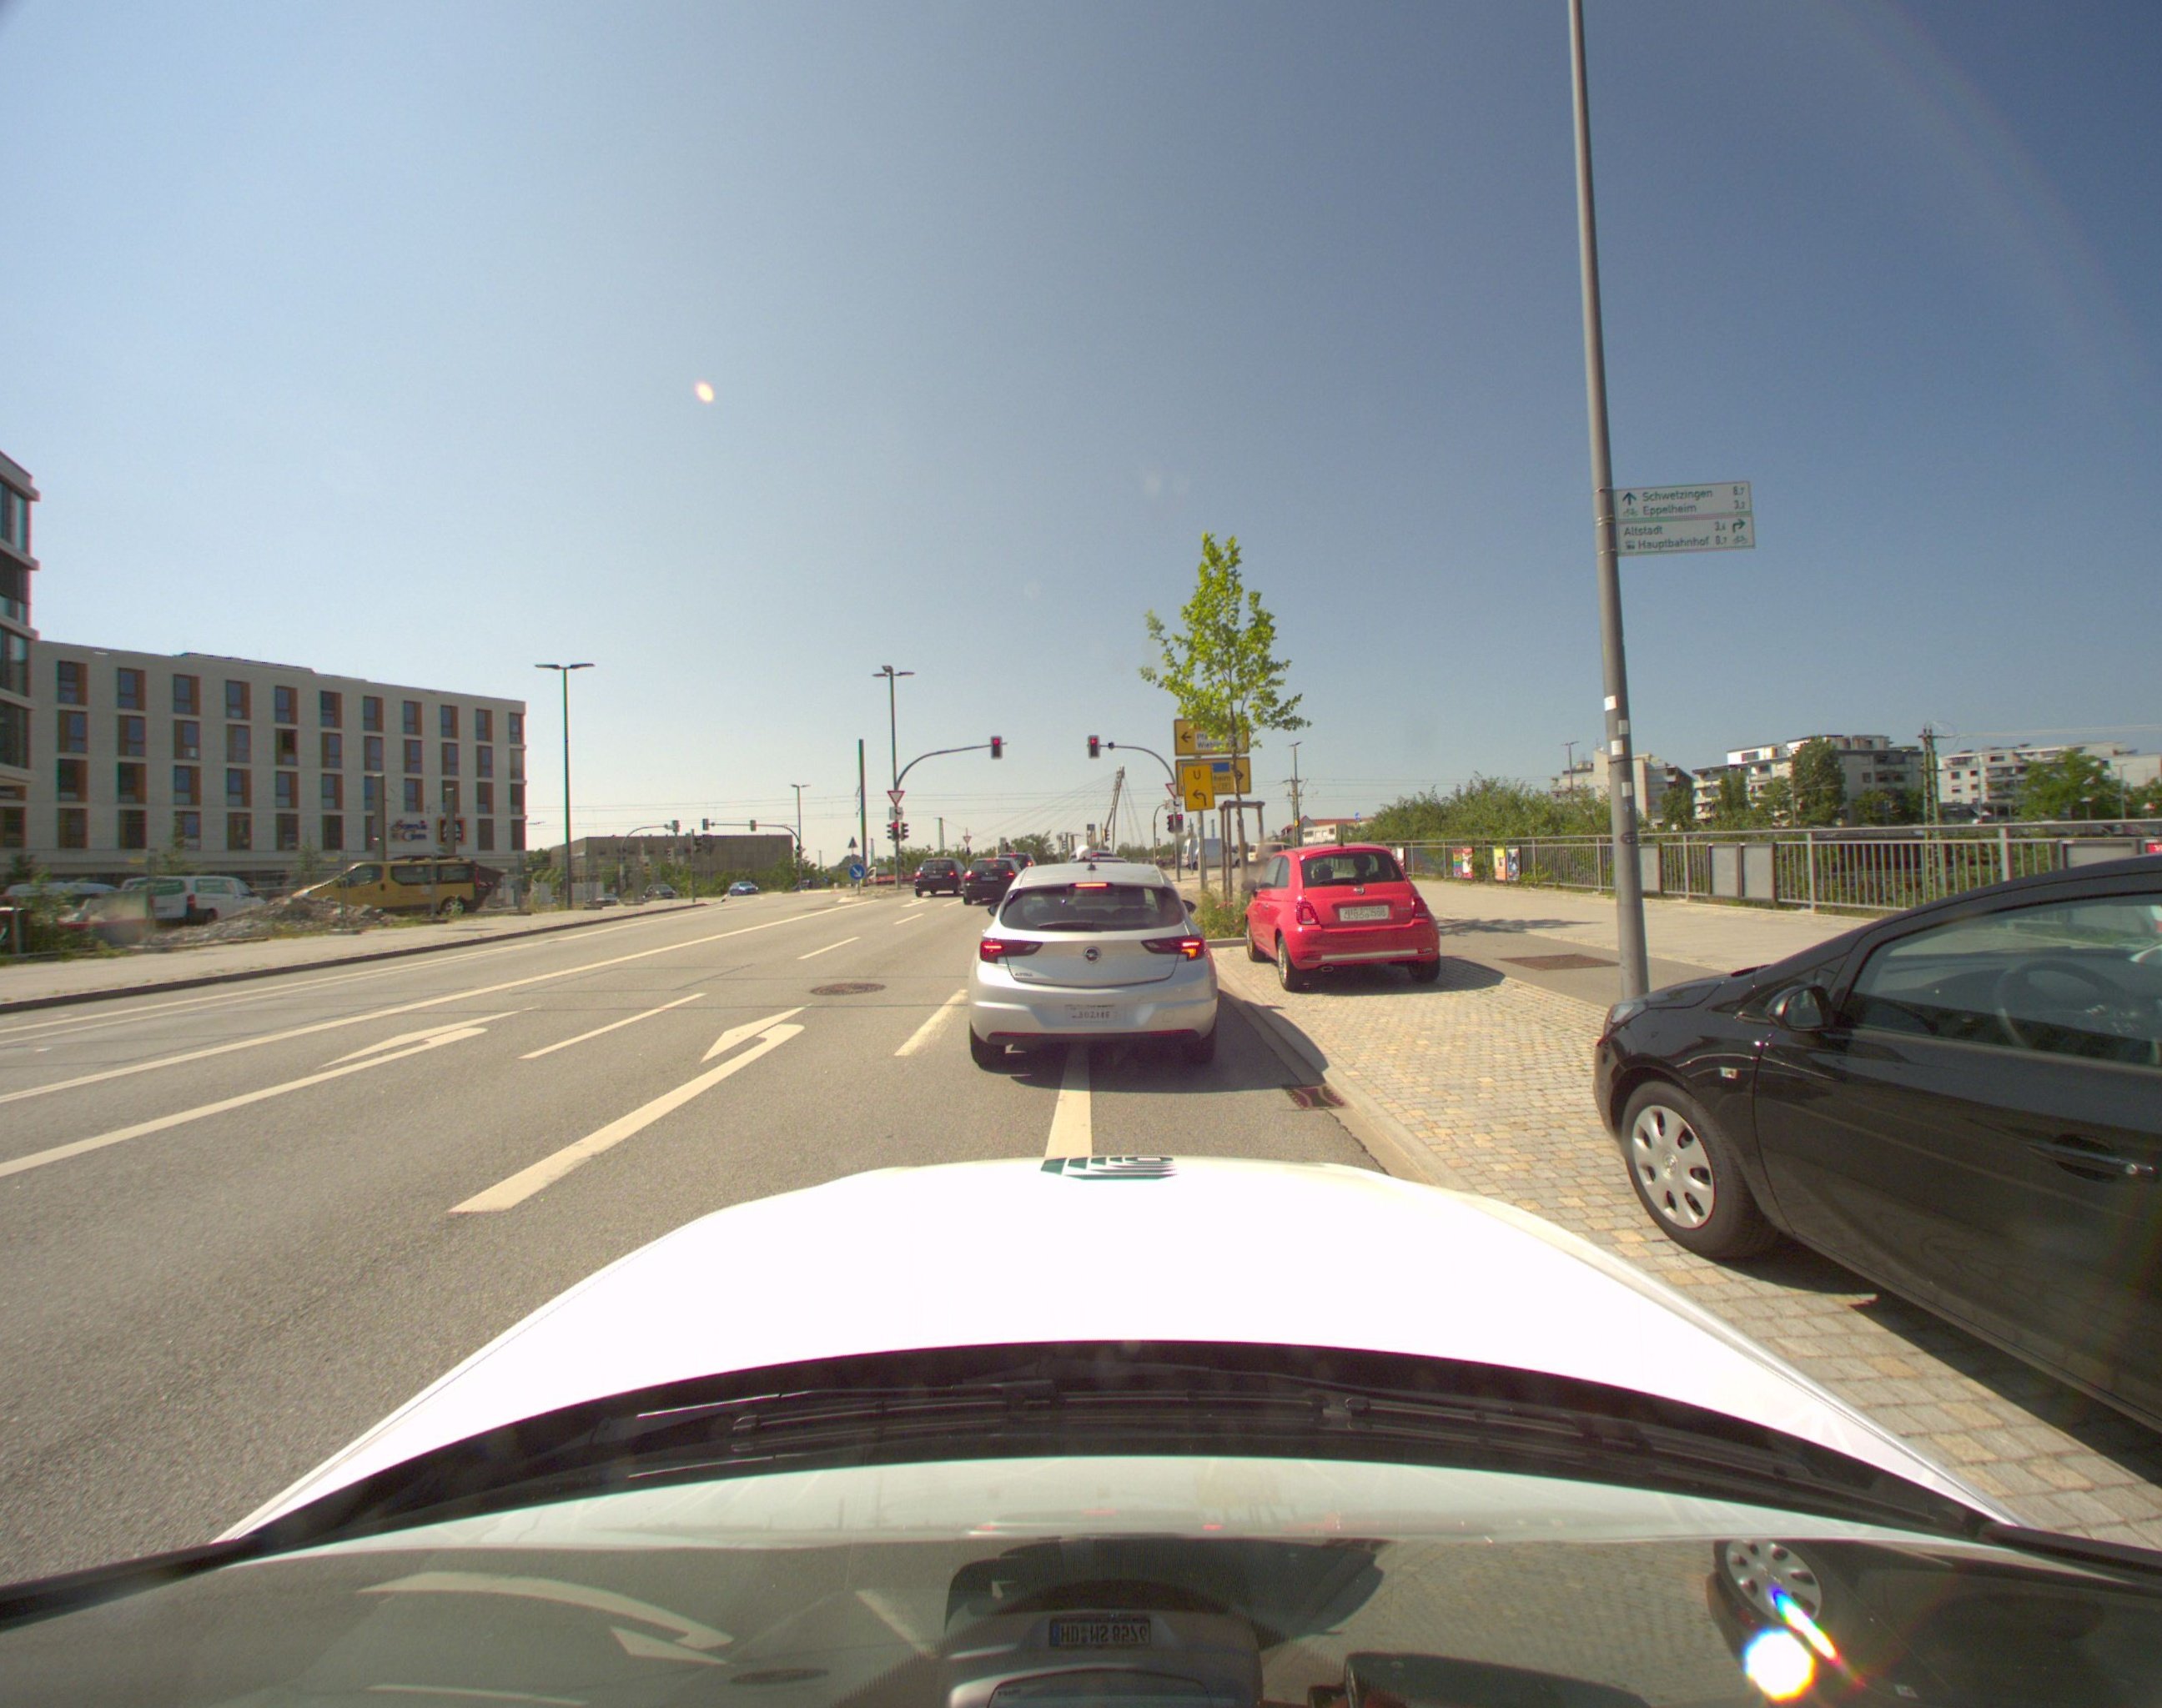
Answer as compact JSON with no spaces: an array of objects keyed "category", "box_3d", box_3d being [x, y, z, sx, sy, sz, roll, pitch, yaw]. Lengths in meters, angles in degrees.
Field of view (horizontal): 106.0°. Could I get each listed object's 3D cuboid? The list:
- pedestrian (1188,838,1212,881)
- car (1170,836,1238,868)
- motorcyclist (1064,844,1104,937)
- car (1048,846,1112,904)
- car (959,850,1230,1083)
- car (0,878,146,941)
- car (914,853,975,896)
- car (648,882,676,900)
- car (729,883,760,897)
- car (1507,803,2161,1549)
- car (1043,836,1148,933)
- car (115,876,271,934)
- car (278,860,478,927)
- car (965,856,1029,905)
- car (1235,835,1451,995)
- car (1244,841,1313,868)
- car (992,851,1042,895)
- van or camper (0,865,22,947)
[{"category":"pedestrian","box_3d":[5.281,0.244,36.243,0.802,1.836,0.641,-1,-1,-42]},{"category":"car","box_3d":[9.551,-0.137,63.416,4.993,2.376,1.780,-1,-1,-6]},{"category":"motorcyclist","box_3d":[0.055,0.545,12.436,0.579,1.389,0.707,0,-1,1]},{"category":"car","box_3d":[0.055,0.557,24.080,1.717,1.563,4.002,0,1,2]},{"category":"car","box_3d":[0.069,0.735,7.237,1.738,1.478,3.998,0,-1,-1]},{"category":"car","box_3d":[-33.666,1.772,27.212,1.794,1.857,3.818,0,-1,-26]},{"category":"car","box_3d":[-5.198,0.769,31.338,1.591,1.547,3.764,0,-1,2]},{"category":"car","box_3d":[-38.493,3.348,74.823,1.686,1.476,3.368,-2,0,-37]},{"category":"car","box_3d":[-33.706,3.575,81.478,1.831,1.331,3.954,0,-2,-38]},{"category":"car","box_3d":[2.896,0.591,1.942,1.654,1.426,4.001,-4,-1,1]},{"category":"car","box_3d":[0.339,0.565,17.684,1.986,1.820,4.404,0,0,2]},{"category":"car","box_3d":[-31.027,1.690,28.671,1.873,1.774,4.619,0,-1,-22]},{"category":"car","box_3d":[-22.668,1.192,26.419,1.964,1.962,4.655,-1,-1,40]},{"category":"car","box_3d":[-2.596,0.786,25.951,1.569,1.434,3.786,0,-1,1]},{"category":"car","box_3d":[2.930,0.606,9.819,1.603,1.496,3.355,-4,0,3]},{"category":"car","box_3d":[14.910,0.054,61.544,4.703,2.014,1.993,0,-1,-11]},{"category":"car","box_3d":[-2.445,0.718,31.836,1.644,1.615,3.819,0,-1,0]},{"category":"van or camper","box_3d":[-36.478,1.718,25.343,2.318,2.735,4.944,0,-1,-26]}]
